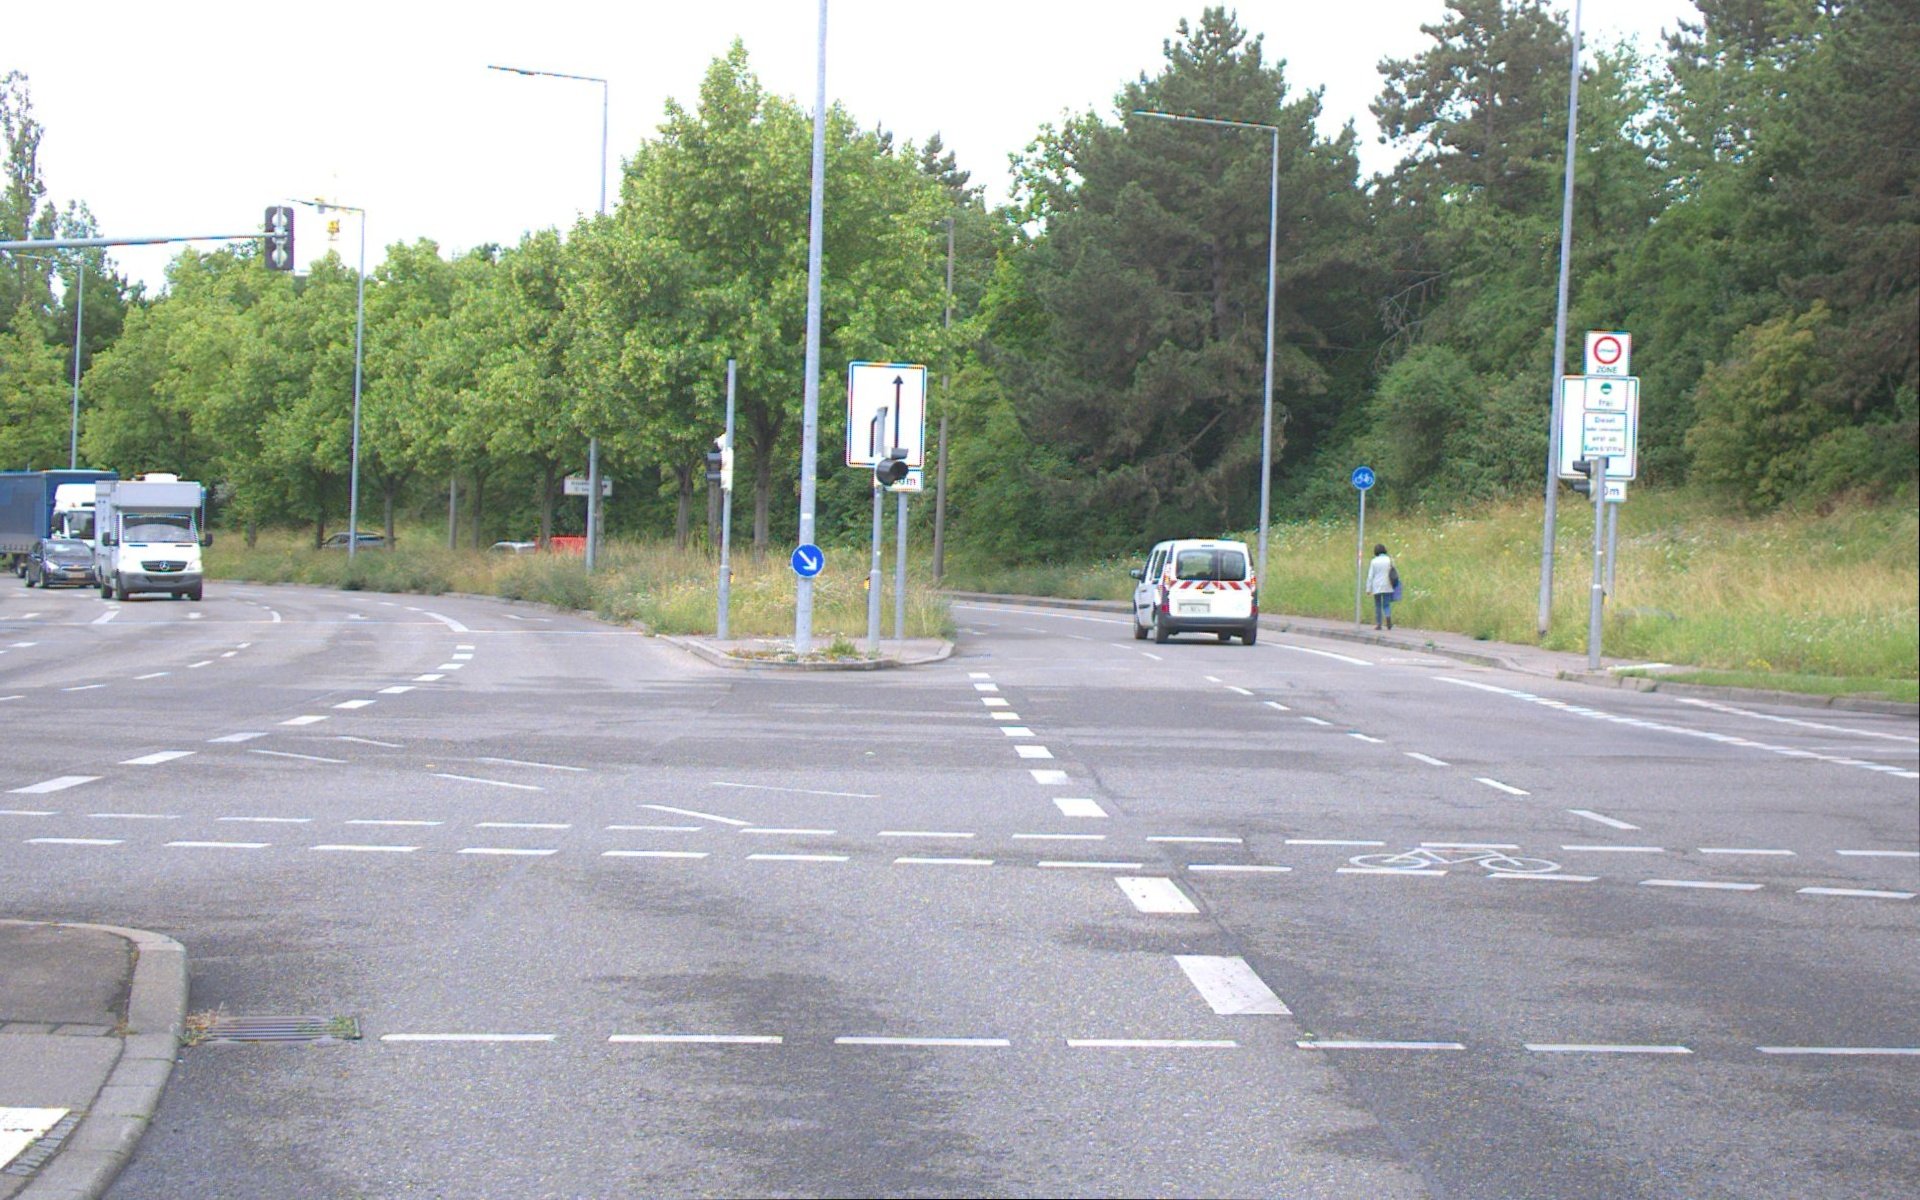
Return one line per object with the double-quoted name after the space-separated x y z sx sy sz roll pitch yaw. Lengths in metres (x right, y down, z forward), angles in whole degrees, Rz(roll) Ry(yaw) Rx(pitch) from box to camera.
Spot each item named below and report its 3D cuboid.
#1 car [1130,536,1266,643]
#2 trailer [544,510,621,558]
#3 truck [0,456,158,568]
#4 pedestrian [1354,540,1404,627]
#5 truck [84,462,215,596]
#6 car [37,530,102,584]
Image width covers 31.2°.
4.160 -0.200 60.732 1.994 1.796 4.839 0 0 -1 "car"
-13.132 -2.304 119.517 1.764 1.610 3.044 0 1 -26 "trailer"
-32.434 -3.073 122.334 3.049 3.747 12.812 0 1 -35 "truck"
7.956 -0.317 65.264 0.814 1.622 0.791 1 1 -1 "pedestrian"
-19.807 -1.716 83.826 2.115 3.124 5.901 1 1 -23 "truck"
-26.592 -1.301 102.572 1.780 1.441 4.530 -1 3 -15 "car"
